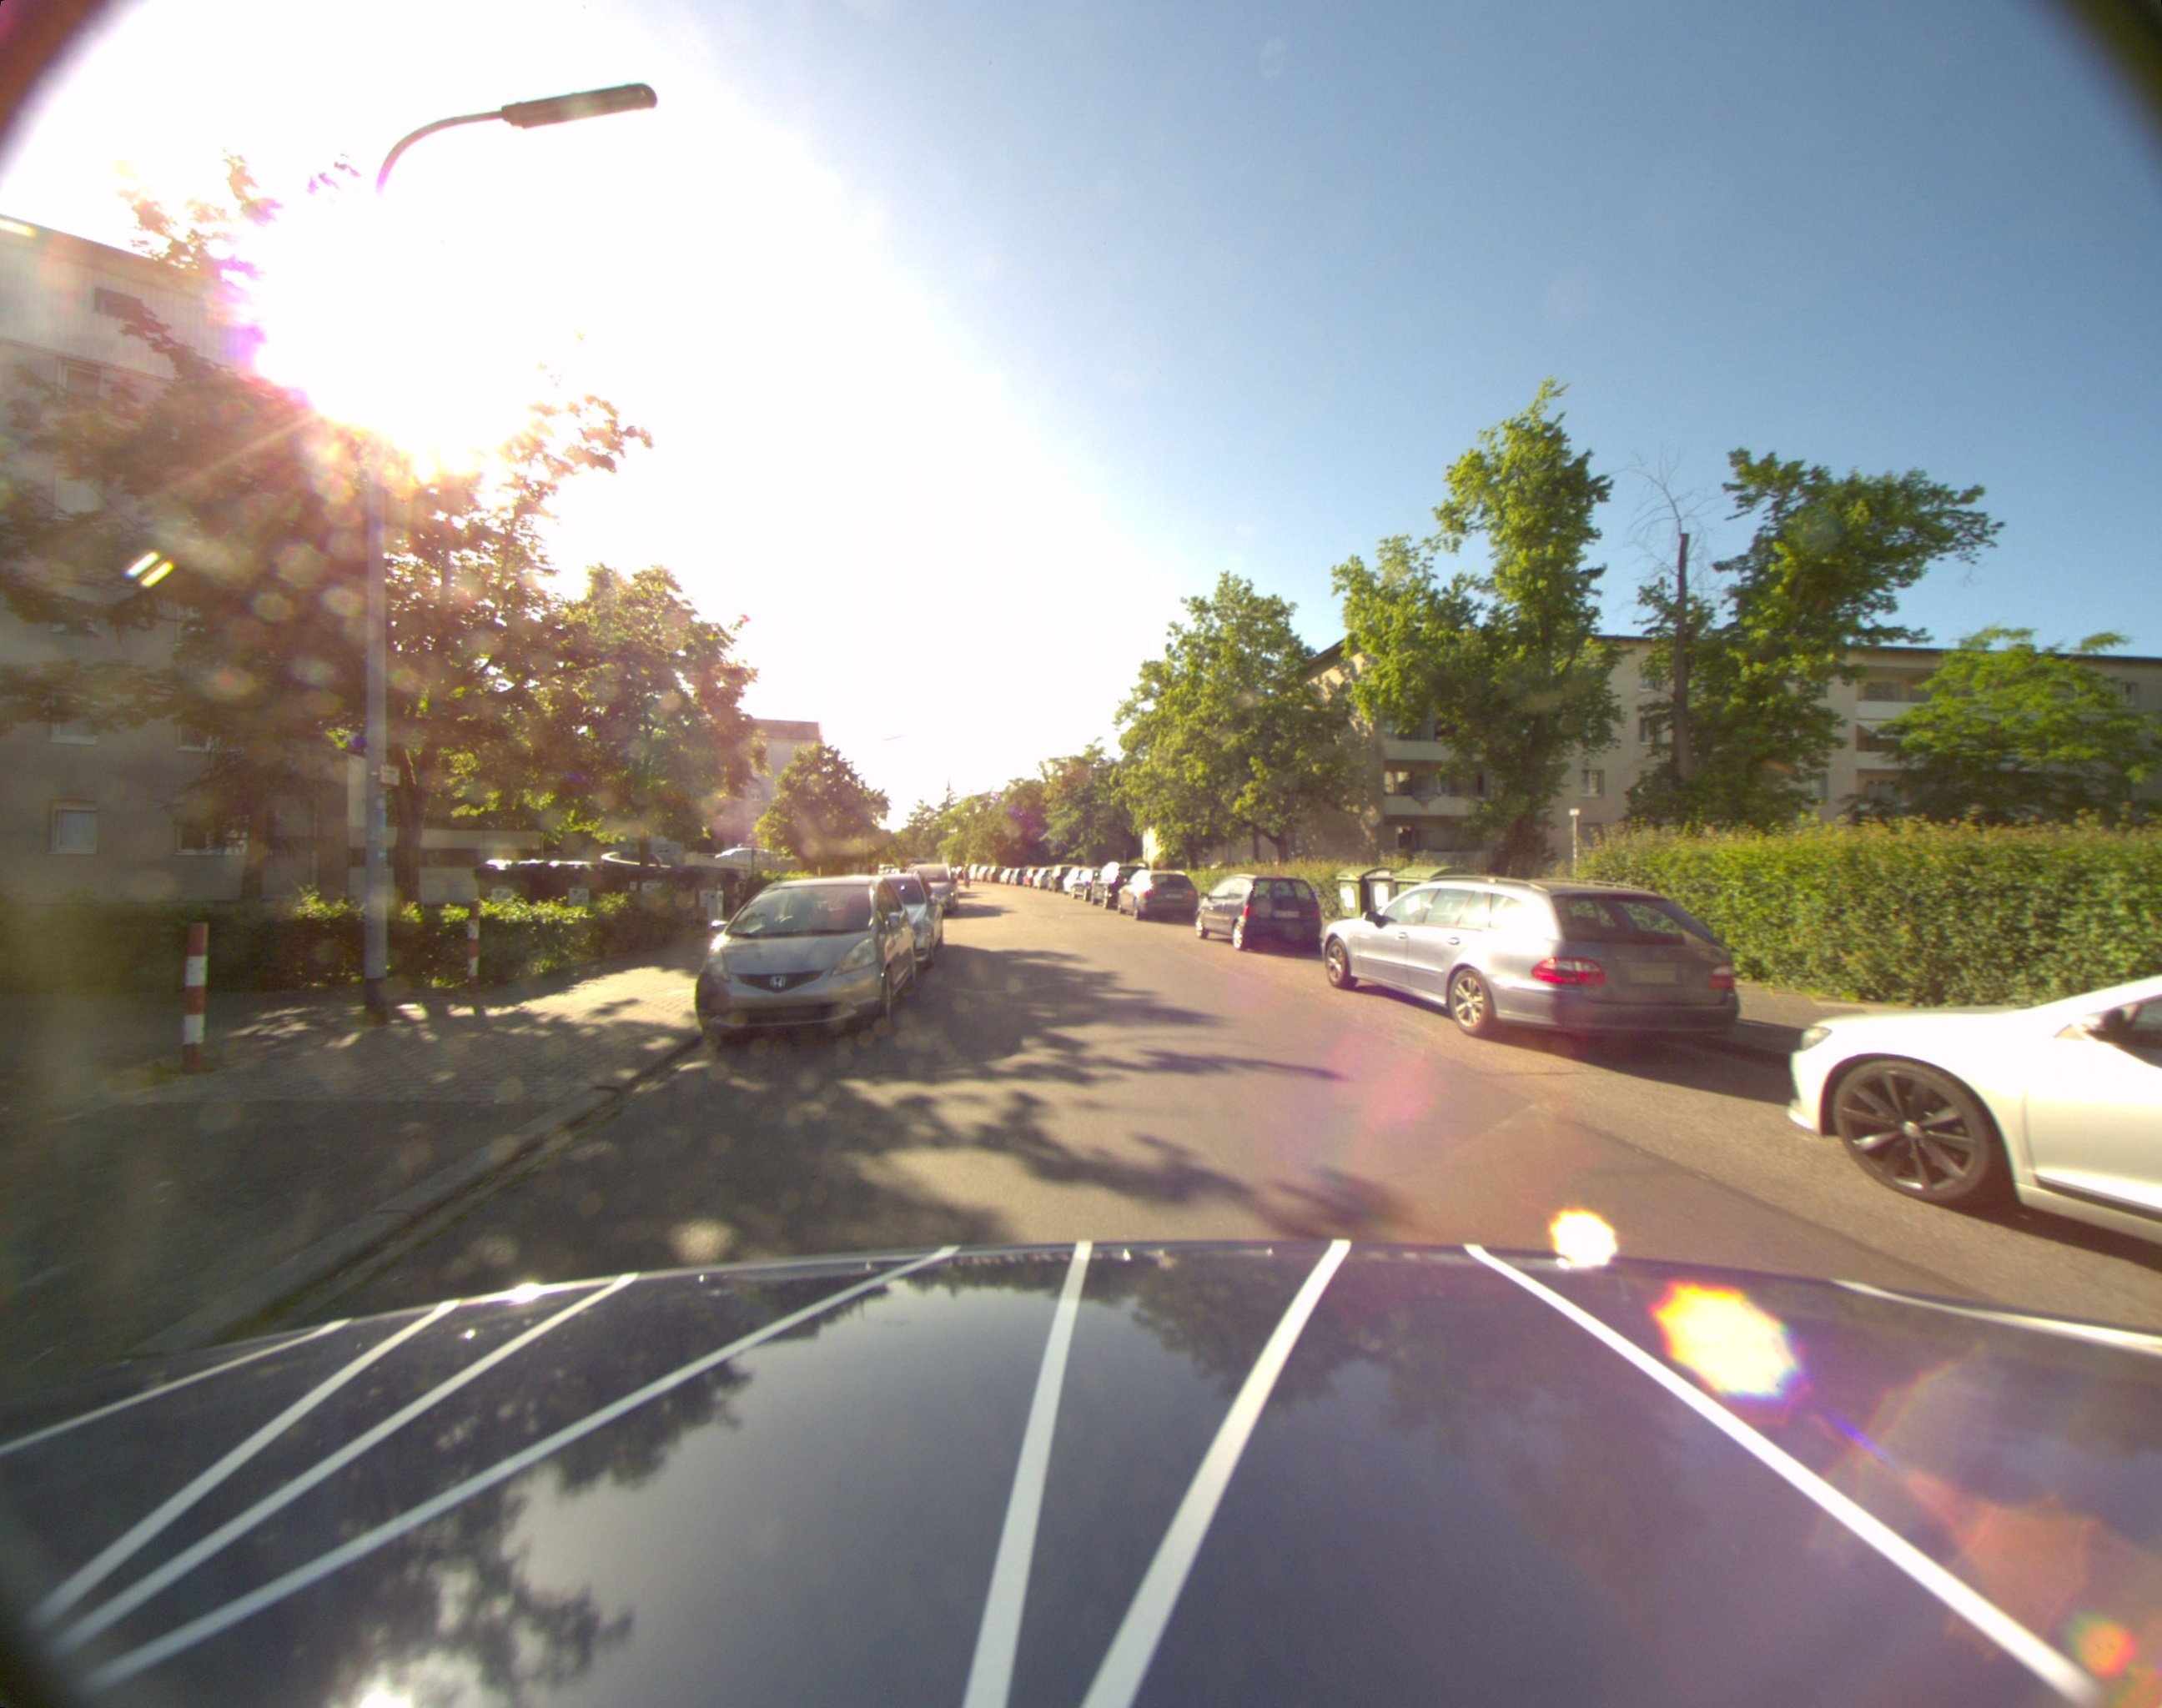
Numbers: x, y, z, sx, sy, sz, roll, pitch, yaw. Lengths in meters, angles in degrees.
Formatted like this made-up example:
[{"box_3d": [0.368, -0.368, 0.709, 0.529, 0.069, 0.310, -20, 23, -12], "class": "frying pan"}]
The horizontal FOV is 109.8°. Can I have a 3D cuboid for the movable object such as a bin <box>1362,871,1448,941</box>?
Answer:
[{"box_3d": [6.871, 1.078, 16.189, 1.123, 1.358, 1.256, -3, 0, -10], "class": "movable object such as a bin"}]

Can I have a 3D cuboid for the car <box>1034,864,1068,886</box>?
[{"box_3d": [-2.117, 1.419, 52.525, 1.813, 1.469, 3.937, 1, -1, -10], "class": "car"}]

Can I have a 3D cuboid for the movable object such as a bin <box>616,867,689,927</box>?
[{"box_3d": [-10.460, 1.026, 18.606, 1.329, 1.422, 1.028, 0, 0, -14], "class": "movable object such as a bin"}]

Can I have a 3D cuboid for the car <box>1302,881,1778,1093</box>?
[{"box_3d": [4.225, 1.108, 8.200, 1.760, 1.481, 4.898, 3, -1, -6], "class": "car"}]

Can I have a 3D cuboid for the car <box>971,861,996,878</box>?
[{"box_3d": [-11.330, 1.813, 87.971, 1.887, 1.857, 5.431, 1, -1, -18], "class": "car"}]

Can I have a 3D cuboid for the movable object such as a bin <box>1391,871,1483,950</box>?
[{"box_3d": [6.923, 1.070, 14.841, 1.005, 1.407, 1.325, -3, 0, -10], "class": "movable object such as a bin"}]

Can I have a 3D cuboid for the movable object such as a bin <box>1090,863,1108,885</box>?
[{"box_3d": [1.243, 1.364, 51.714, 0.897, 1.407, 1.263, -3, 0, -12], "class": "movable object such as a bin"}]

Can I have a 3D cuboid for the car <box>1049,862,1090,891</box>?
[{"box_3d": [-0.757, 1.318, 45.918, 1.812, 1.596, 4.429, 1, -1, -10], "class": "car"}]

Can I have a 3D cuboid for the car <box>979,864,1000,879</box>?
[{"box_3d": [-9.876, 1.863, 82.092, 1.660, 1.621, 3.685, 1, -1, -16], "class": "car"}]

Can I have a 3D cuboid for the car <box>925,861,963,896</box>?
[{"box_3d": [-7.057, 1.201, 38.919, 1.760, 1.664, 4.409, -1, 0, -11], "class": "car"}]

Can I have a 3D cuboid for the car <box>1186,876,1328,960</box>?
[{"box_3d": [3.458, 1.228, 15.579, 1.654, 1.455, 3.493, 1, -1, -9], "class": "car"}]

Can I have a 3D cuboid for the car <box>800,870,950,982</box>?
[{"box_3d": [-3.359, 1.074, 13.251, 1.836, 1.537, 4.638, -1, 0, -7], "class": "car"}]

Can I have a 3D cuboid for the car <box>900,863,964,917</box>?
[{"box_3d": [-4.932, 1.133, 25.658, 1.760, 1.617, 4.492, -1, 0, -7], "class": "car"}]

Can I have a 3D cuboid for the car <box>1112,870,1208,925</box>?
[{"box_3d": [2.277, 1.248, 23.165, 1.760, 1.377, 4.670, 1, 0, -9], "class": "car"}]

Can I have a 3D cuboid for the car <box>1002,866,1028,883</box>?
[{"box_3d": [-6.064, 1.811, 69.318, 1.660, 1.469, 3.731, 1, -1, -15], "class": "car"}]

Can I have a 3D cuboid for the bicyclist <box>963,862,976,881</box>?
[{"box_3d": [-7.789, 1.216, 53.098, 0.813, 1.348, 1.090, -1, 0, -12], "class": "bicyclist"}]

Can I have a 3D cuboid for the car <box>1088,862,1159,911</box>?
[{"box_3d": [1.508, 1.163, 28.671, 1.760, 1.658, 4.387, 1, -1, -9], "class": "car"}]

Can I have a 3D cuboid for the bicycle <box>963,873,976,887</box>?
[{"box_3d": [-7.795, 1.784, 53.093, 0.825, 0.895, 2.201, -1, 0, -12], "class": "bicycle"}]

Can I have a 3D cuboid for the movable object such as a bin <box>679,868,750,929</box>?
[{"box_3d": [-9.050, 1.088, 18.846, 1.329, 1.419, 1.069, 2, -1, -14], "class": "movable object such as a bin"}]

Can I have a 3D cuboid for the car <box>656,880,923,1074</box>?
[{"box_3d": [-2.828, 1.088, 8.276, 1.810, 1.486, 3.793, -1, 0, -7], "class": "car"}]

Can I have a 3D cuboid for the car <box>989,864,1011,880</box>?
[{"box_3d": [-8.203, 1.789, 76.547, 1.660, 1.621, 4.067, 1, -1, -14], "class": "car"}]

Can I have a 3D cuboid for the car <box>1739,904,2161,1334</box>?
[{"box_3d": [4.772, 1.020, 2.219, 1.759, 1.416, 4.208, 2, 0, -6], "class": "car"}]

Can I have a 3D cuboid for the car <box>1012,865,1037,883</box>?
[{"box_3d": [-4.795, 1.675, 64.591, 1.659, 1.469, 3.102, 1, -1, -13], "class": "car"}]

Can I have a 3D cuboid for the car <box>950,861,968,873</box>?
[{"box_3d": [-15.926, 1.702, 99.153, 1.660, 1.558, 3.684, 1, -1, -19], "class": "car"}]

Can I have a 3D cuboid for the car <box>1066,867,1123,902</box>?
[{"box_3d": [0.522, 1.303, 33.391, 1.644, 1.377, 4.167, 1, -1, -11], "class": "car"}]

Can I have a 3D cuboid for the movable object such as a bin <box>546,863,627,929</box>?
[{"box_3d": [-11.848, 0.976, 18.259, 1.329, 1.528, 1.028, -1, 0, -14], "class": "movable object such as a bin"}]

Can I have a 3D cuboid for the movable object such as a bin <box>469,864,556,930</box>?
[{"box_3d": [-13.299, 0.980, 17.827, 1.327, 1.472, 1.028, -1, 0, -14], "class": "movable object such as a bin"}]

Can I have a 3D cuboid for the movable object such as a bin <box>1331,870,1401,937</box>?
[{"box_3d": [6.529, 1.104, 17.468, 0.897, 1.407, 1.325, -3, 0, -9], "class": "movable object such as a bin"}]

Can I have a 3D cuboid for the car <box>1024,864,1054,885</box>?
[{"box_3d": [-3.245, 1.514, 57.593, 1.637, 1.469, 3.875, 1, -1, -13], "class": "car"}]

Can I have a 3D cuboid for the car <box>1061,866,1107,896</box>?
[{"box_3d": [0.114, 1.387, 39.902, 1.760, 1.428, 4.148, 1, -1, -9], "class": "car"}]
